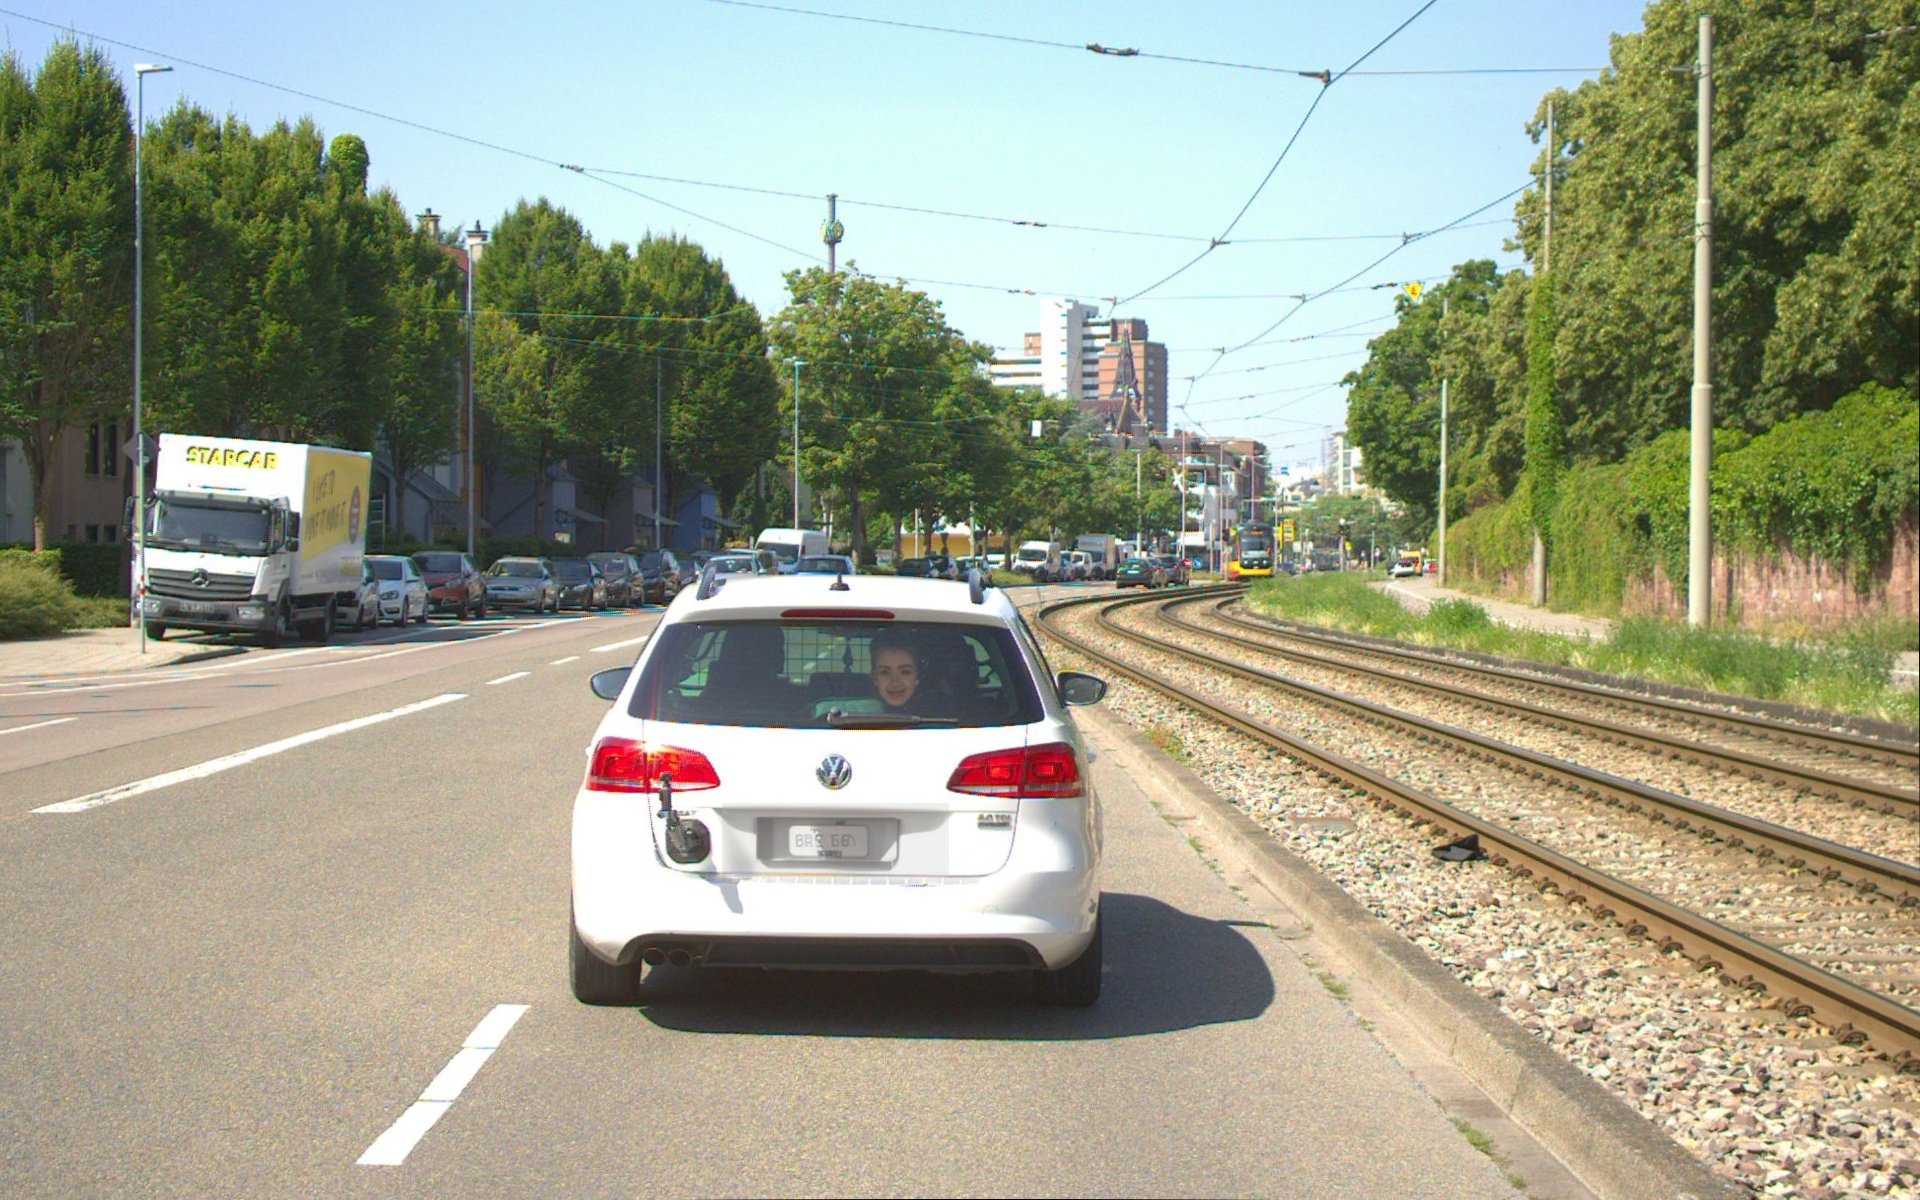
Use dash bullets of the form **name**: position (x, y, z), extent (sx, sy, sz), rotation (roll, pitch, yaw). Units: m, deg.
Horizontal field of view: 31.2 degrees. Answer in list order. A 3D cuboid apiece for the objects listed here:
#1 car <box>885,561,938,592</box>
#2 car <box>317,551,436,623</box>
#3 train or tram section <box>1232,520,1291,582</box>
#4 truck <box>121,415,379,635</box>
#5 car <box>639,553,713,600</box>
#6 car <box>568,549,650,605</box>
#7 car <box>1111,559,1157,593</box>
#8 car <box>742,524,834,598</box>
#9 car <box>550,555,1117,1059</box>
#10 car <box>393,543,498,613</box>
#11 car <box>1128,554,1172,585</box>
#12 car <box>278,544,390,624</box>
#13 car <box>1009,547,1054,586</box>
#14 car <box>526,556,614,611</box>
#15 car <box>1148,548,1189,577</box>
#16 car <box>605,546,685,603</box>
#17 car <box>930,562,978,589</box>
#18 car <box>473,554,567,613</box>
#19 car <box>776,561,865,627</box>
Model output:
- **car**: position (-2.290, -1.126, 164.208), extent (1.700, 1.412, 3.998), rotation (0, 1, 12)
- **car**: position (-12.320, -0.305, 72.824), extent (1.757, 1.424, 4.282), rotation (2, 1, 0)
- **train or tram section**: position (18.914, -3.034, 214.895), extent (2.512, 3.734, 13.305), rotation (0, 1, 10)
- **truck**: position (-12.374, -1.300, 60.695), extent (2.667, 3.518, 8.591), rotation (2, 1, 0)
- **car**: position (-9.484, -0.799, 115.215), extent (1.690, 1.469, 4.048), rotation (3, 1, 6)
- **car**: position (-10.622, -0.717, 104.249), extent (1.717, 1.619, 4.312), rotation (2, 1, 4)
- **car**: position (8.135, -1.153, 160.787), extent (1.801, 1.502, 3.999), rotation (1, 1, 8)
- **car**: position (-6.667, -1.486, 134.214), extent (1.995, 2.705, 7.154), rotation (3, 1, 9)
- **car**: position (-0.461, 0.604, 12.701), extent (1.691, 1.446, 4.459), rotation (1, 1, -2)
- **car**: position (-12.069, -0.531, 80.914), extent (1.731, 1.546, 4.318), rotation (1, 1, 1)
- **car**: position (9.244, -1.490, 167.219), extent (1.801, 1.455, 3.999), rotation (1, 1, 8)
- **car**: position (-12.361, -0.335, 68.091), extent (1.609, 1.478, 3.636), rotation (2, 1, -2)
- **car**: position (4.419, -2.052, 210.859), extent (1.881, 2.407, 5.113), rotation (0, 1, 12)
- **car**: position (-11.128, -0.485, 98.290), extent (1.723, 1.469, 4.714), rotation (2, 1, 3)
- **car**: position (10.564, -1.898, 174.238), extent (1.801, 1.455, 3.999), rotation (0, 1, 8)
- **car**: position (-10.033, -0.823, 109.760), extent (1.769, 1.717, 4.869), rotation (2, 1, 3)
- **car**: position (-0.309, -1.274, 176.944), extent (1.700, 1.347, 3.998), rotation (0, 1, 12)
- **car**: position (-11.722, -0.449, 91.843), extent (1.780, 1.478, 4.857), rotation (2, 0, 1)
- **car**: position (-3.478, -0.181, 86.143), extent (1.801, 1.502, 4.000), rotation (1, 2, 3)
